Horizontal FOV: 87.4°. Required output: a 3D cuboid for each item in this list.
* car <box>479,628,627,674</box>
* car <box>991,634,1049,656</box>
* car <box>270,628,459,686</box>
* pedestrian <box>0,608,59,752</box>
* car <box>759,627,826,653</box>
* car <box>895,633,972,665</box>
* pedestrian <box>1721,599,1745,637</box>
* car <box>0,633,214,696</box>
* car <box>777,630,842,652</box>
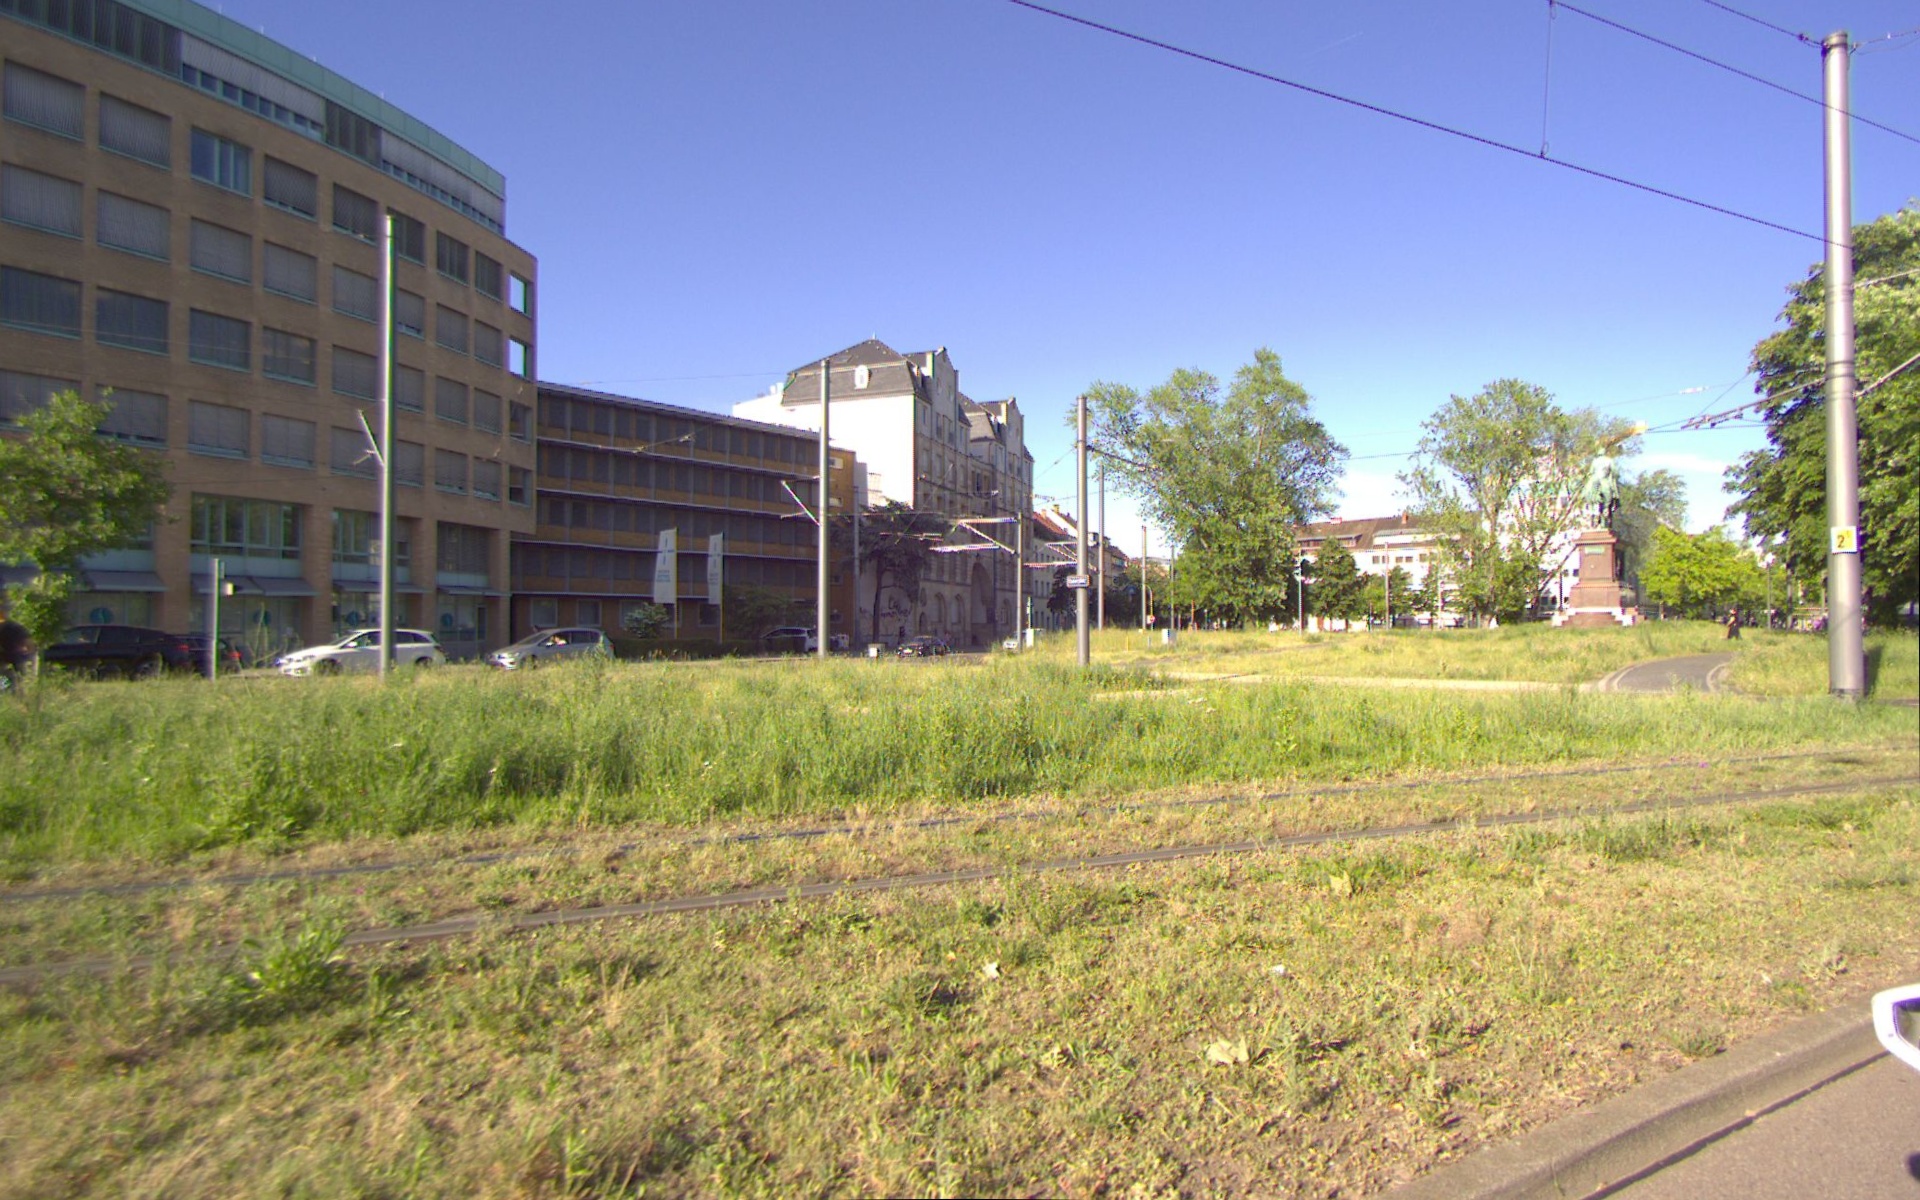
[{"bbox_3d":[-14.404,1.772,35.742,1.969,1.446,4.492,1,-1,38],"label":"car"},{"bbox_3d":[4.231,3.110,69.865,1.966,1.372,4.755,0,0,33],"label":"car"},{"bbox_3d":[-18.346,1.706,31.125,1.970,1.617,4.633,1,-1,41],"label":"car"},{"bbox_3d":[-11.490,0.942,12.079,0.733,1.693,0.733,0,-1,-21],"label":"pedestrian"},{"bbox_3d":[-11.077,2.634,66.540,3.919,1.602,2.001,1,-1,13],"label":"car"},{"bbox_3d":[-1.434,2.720,55.434,1.969,1.532,4.267,0,-4,38],"label":"car"},{"bbox_3d":[33.634,0.789,43.705,0.661,1.637,0.555,1,0,15],"label":"pedestrian"},{"bbox_3d":[-22.667,1.630,26.134,1.973,1.466,4.988,1,-1,45],"label":"car"},{"bbox_3d":[-10.316,2.806,69.024,3.919,1.359,2.001,1,-1,13],"label":"car"}]
